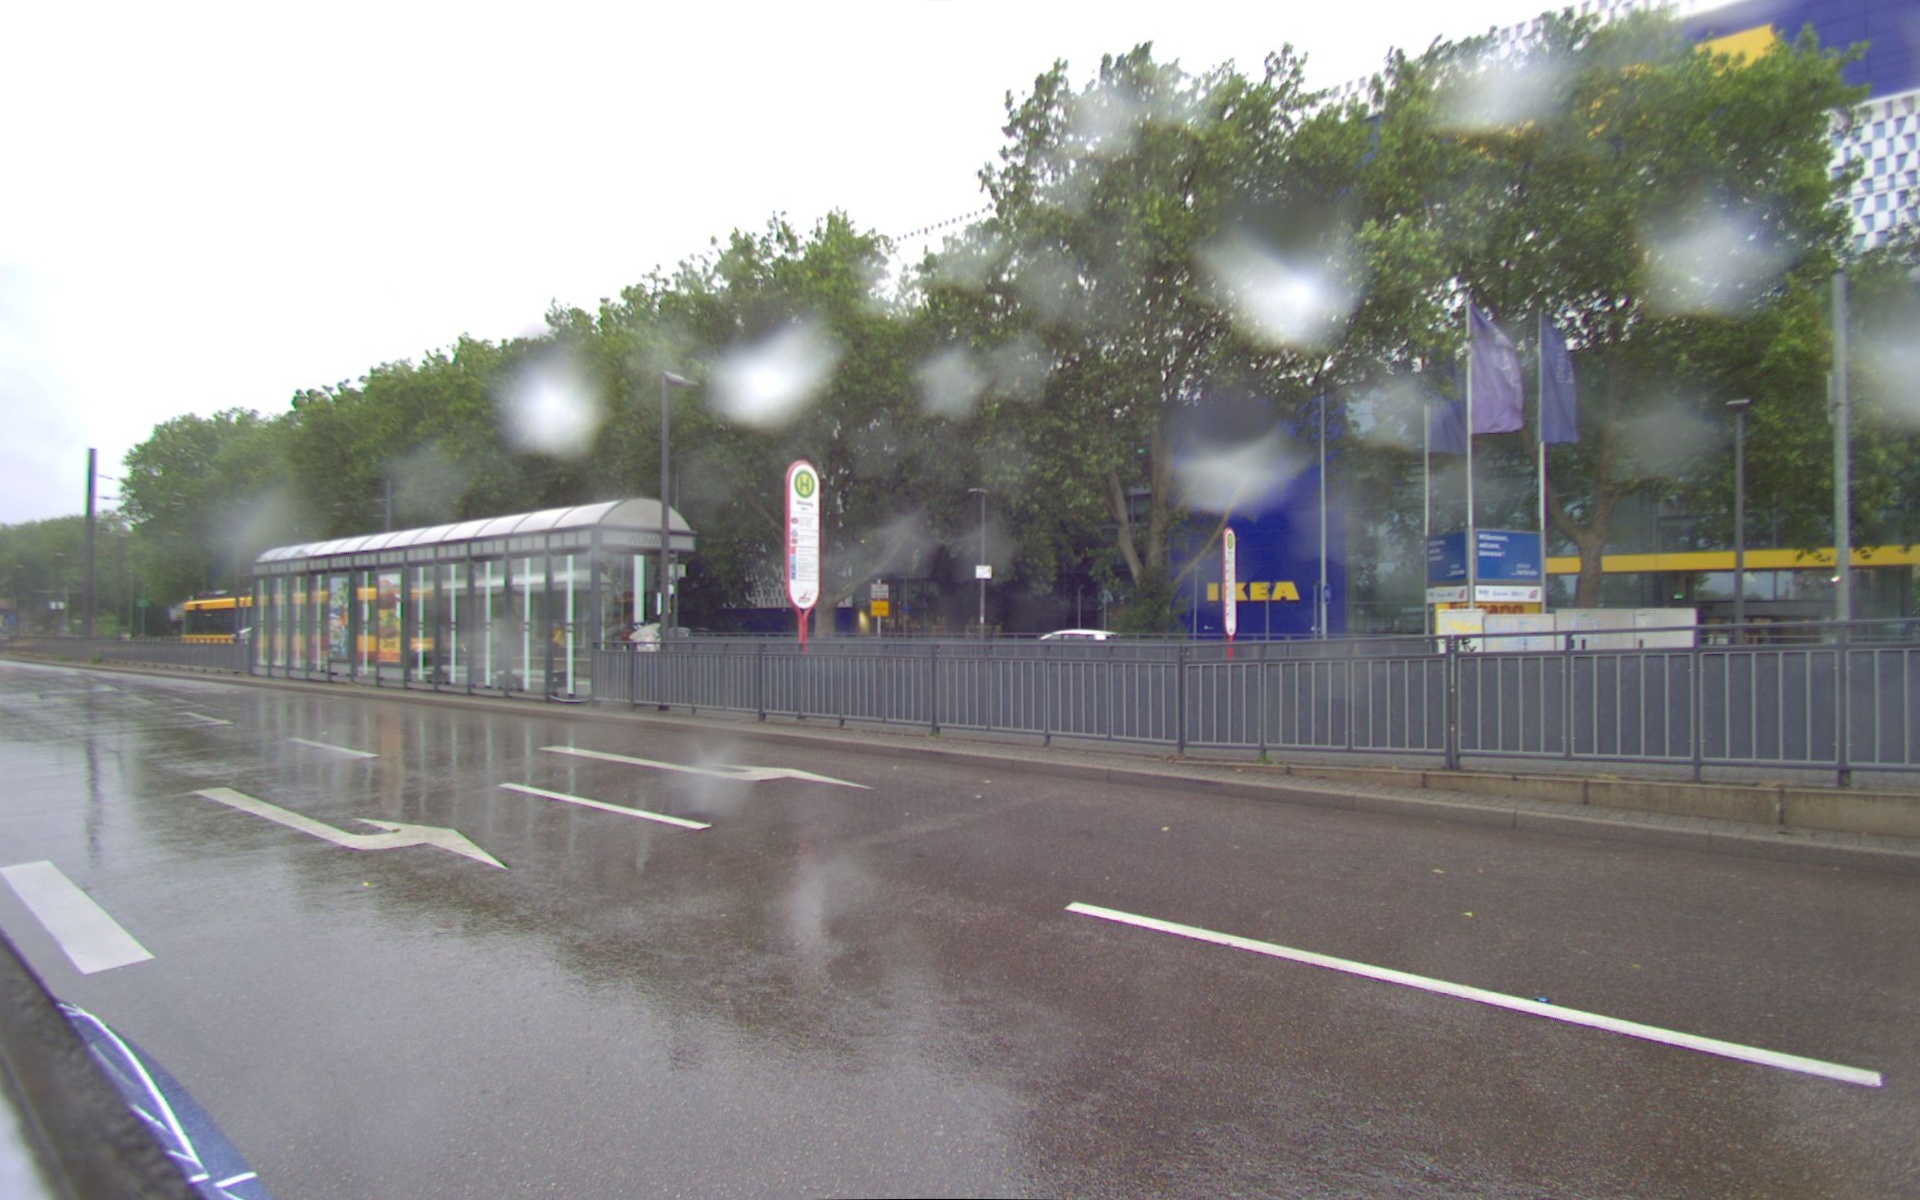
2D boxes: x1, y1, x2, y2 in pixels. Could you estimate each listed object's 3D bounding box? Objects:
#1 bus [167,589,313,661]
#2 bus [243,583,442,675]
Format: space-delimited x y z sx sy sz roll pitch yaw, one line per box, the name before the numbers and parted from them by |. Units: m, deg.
bus | -37.990 1.225 52.988 15.057 3.354 2.900 -1 0 42
bus | -26.607 1.103 42.948 15.057 3.354 2.900 -1 0 41
